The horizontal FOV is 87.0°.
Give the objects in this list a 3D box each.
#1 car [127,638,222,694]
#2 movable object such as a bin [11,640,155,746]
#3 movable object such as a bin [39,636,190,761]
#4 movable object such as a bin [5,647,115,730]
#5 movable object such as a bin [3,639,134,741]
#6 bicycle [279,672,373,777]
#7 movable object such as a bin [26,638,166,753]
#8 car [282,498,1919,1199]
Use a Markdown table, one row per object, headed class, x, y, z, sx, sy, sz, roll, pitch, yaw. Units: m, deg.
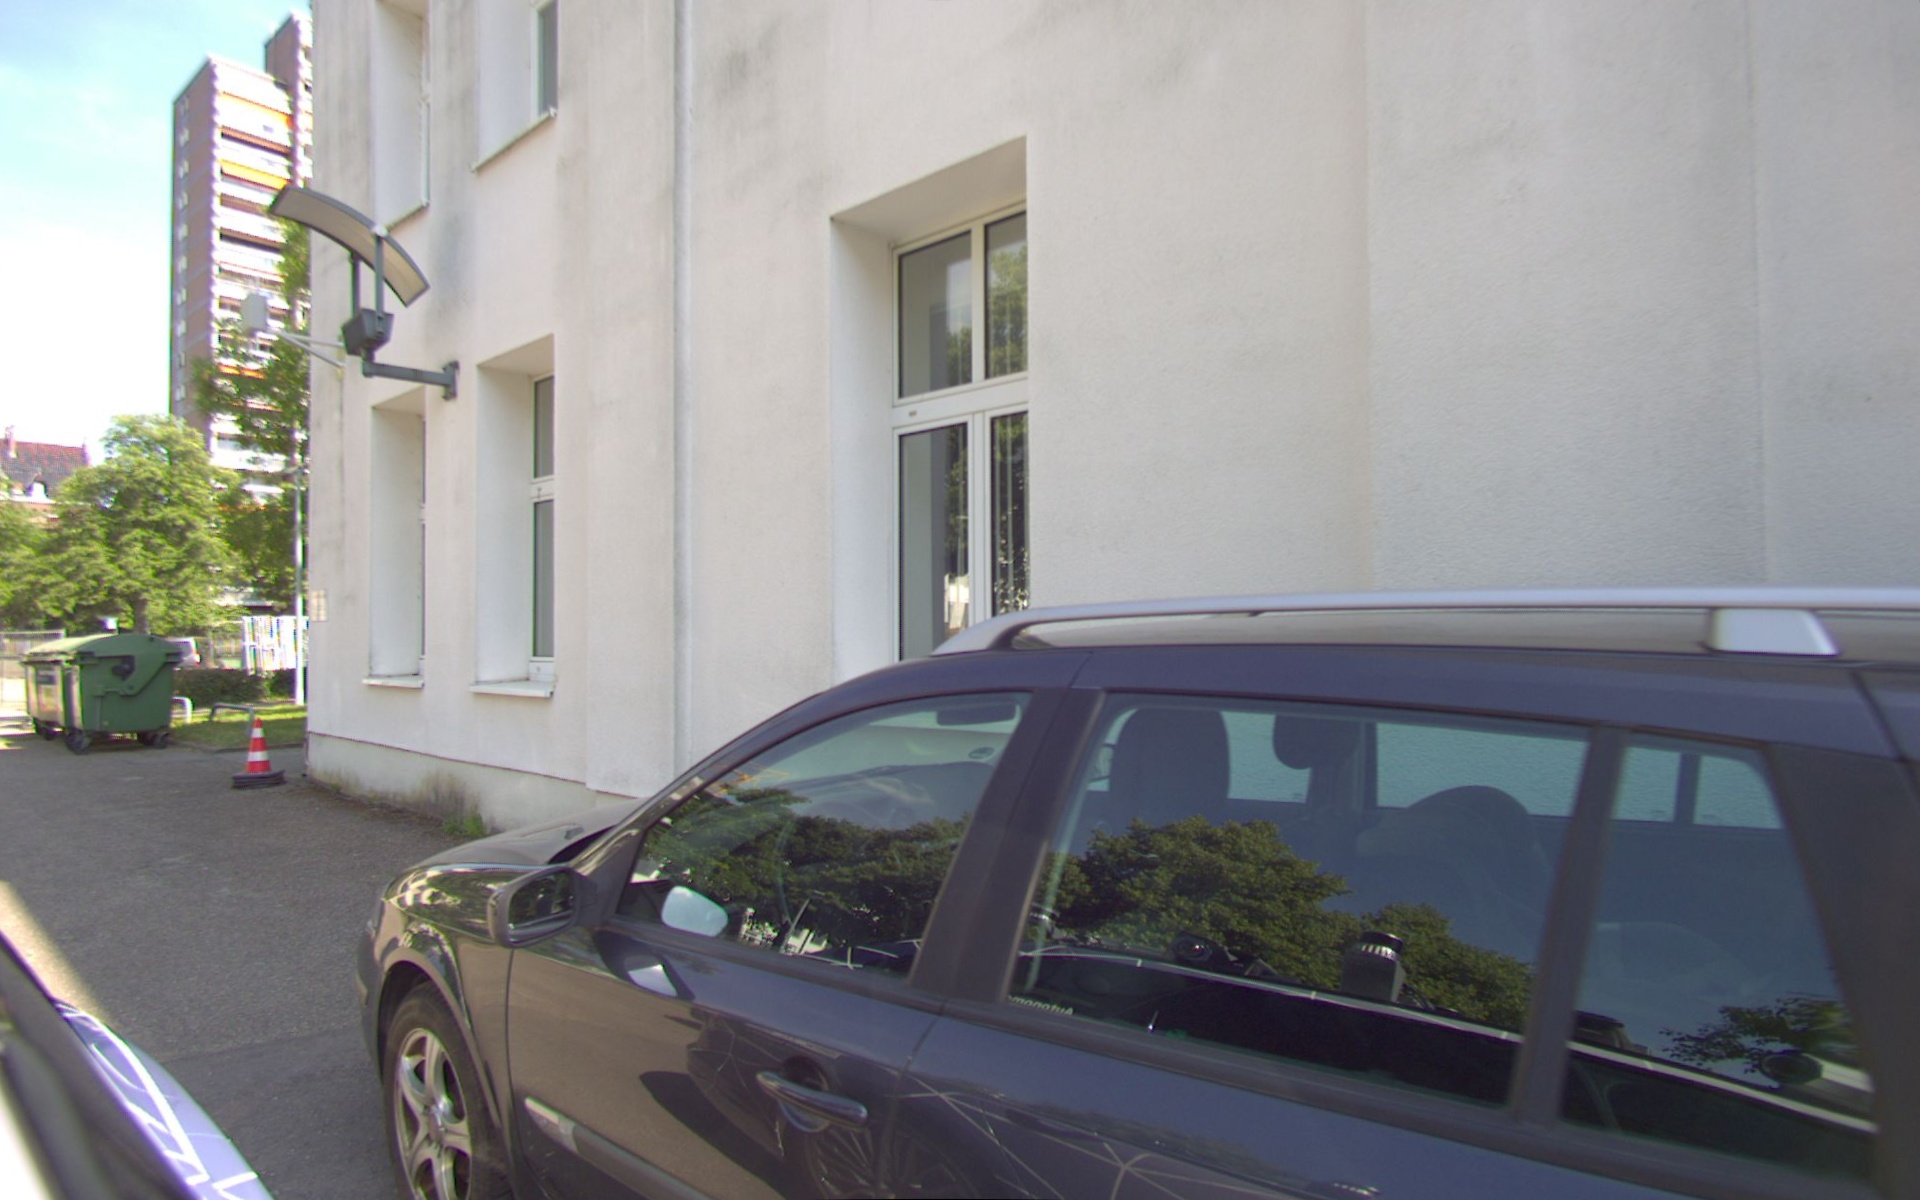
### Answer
| class | x | y | z | sx | sy | sz | roll | pitch | yaw |
| --- | --- | --- | --- | --- | --- | --- | --- | --- | --- |
| car | -28.047 | 2.316 | 36.279 | 1.888 | 1.794 | 4.326 | -1 | -2 | -27 |
| movable object such as a bin | -12.765 | 1.316 | 14.747 | 1.218 | 1.442 | 1.235 | -2 | -3 | 30 |
| movable object such as a bin | -10.652 | 1.192 | 12.762 | 1.349 | 1.442 | 1.231 | -3 | -3 | 40 |
| movable object such as a bin | -16.271 | 1.566 | 18.345 | 1.227 | 1.407 | 1.408 | 1 | -3 | -31 |
| movable object such as a bin | -13.808 | 1.355 | 15.690 | 1.336 | 1.493 | 1.233 | -2 | -3 | 35 |
| bicycle | -6.529 | 1.242 | 10.395 | 1.541 | 1.000 | 0.439 | -4 | -5 | 44 |
| movable object such as a bin | -11.762 | 1.256 | 13.786 | 1.365 | 1.442 | 1.231 | -3 | -3 | 40 |
| car | 0.489 | 0.646 | 1.933 | 4.427 | 1.452 | 1.818 | 0 | 1 | 40 |
